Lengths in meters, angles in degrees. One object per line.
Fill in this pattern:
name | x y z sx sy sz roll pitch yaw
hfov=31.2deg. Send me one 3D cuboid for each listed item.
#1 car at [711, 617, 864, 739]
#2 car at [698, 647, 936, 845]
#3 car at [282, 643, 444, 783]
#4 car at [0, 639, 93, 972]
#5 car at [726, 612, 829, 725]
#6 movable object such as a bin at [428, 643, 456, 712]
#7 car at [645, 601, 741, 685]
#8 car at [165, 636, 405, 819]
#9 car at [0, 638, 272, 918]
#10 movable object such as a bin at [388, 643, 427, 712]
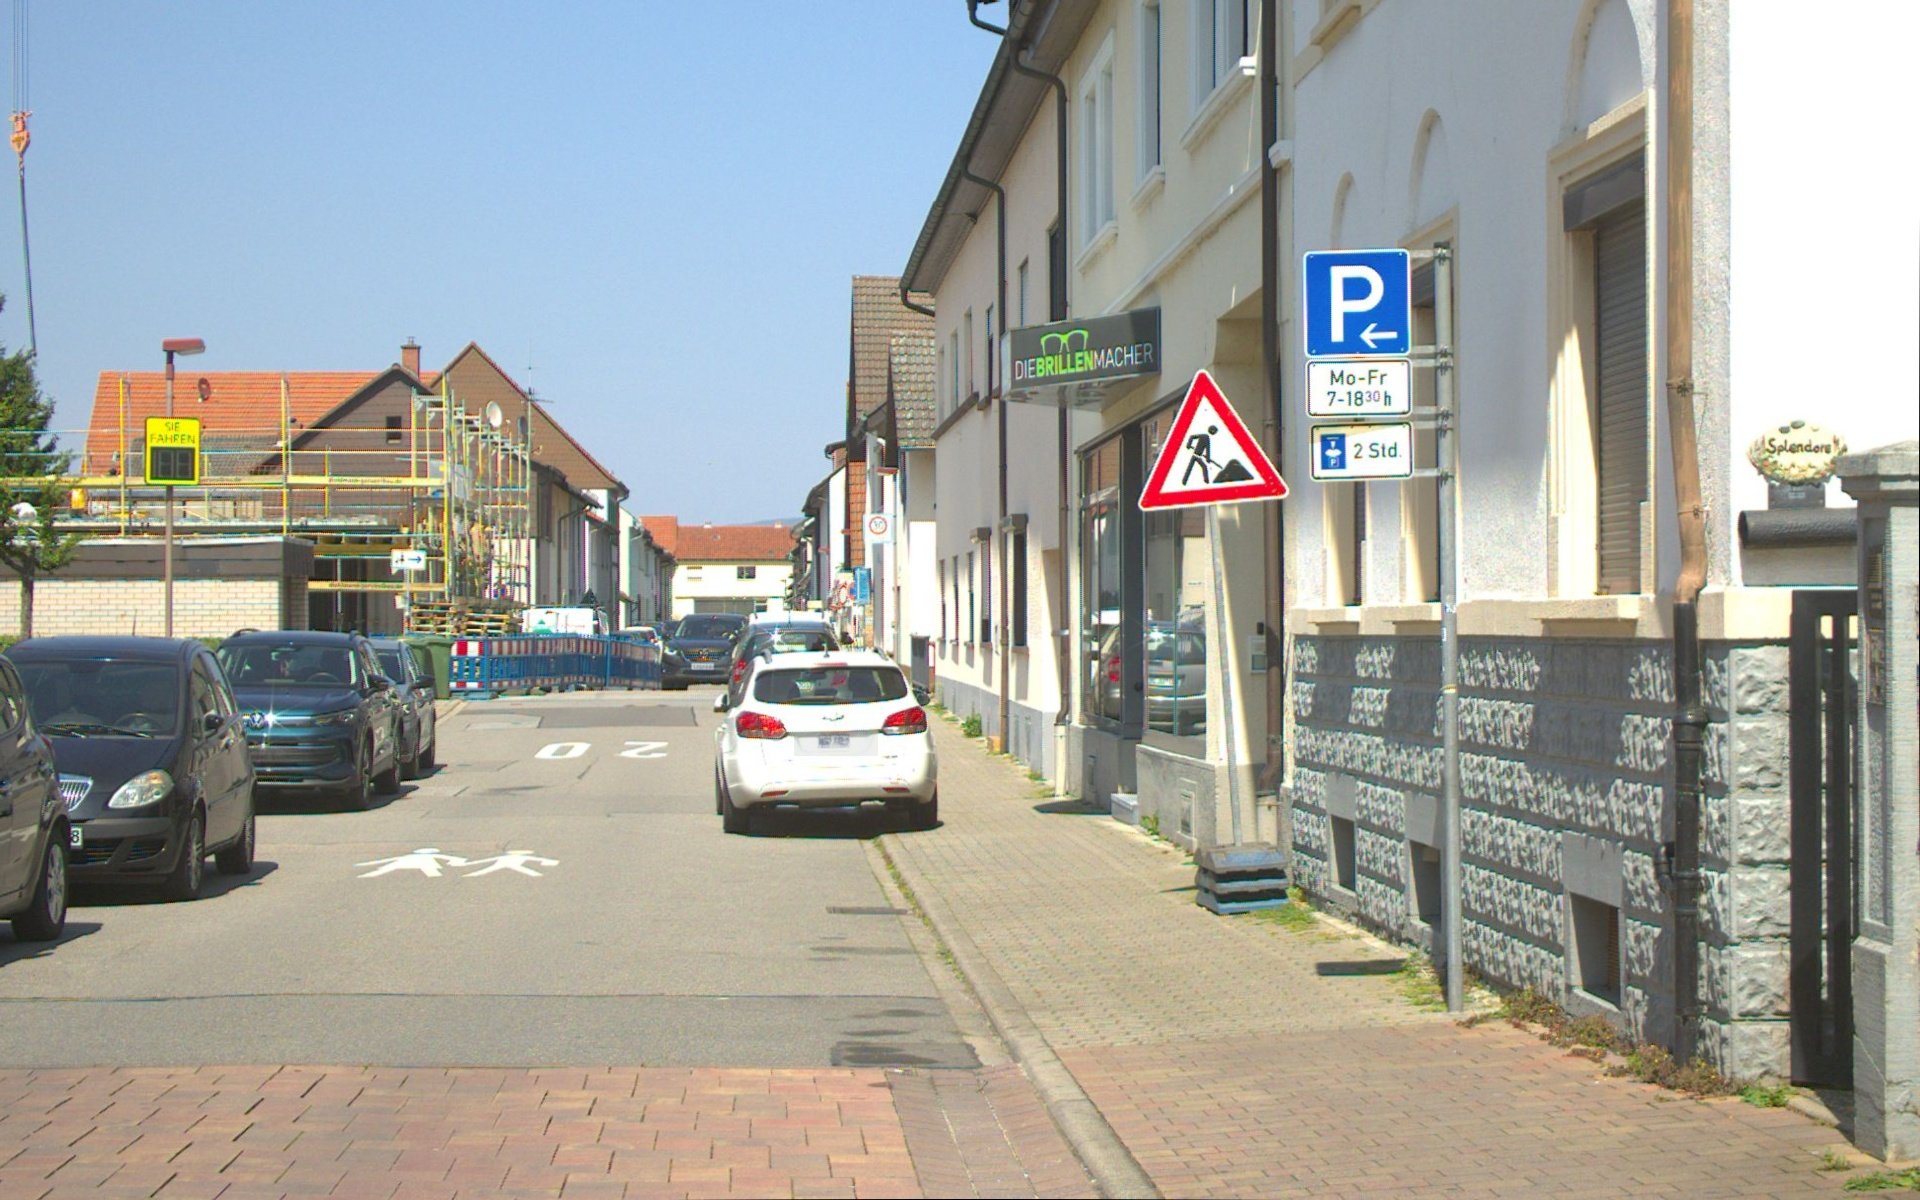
car | -2.522 1.089 49.463 1.884 1.551 3.895 -4 0 -6
car | -1.208 1.193 29.596 1.886 1.537 4.243 0 0 -2
car | -6.636 1.227 38.501 1.436 1.469 3.787 -1 -1 -5
car | -5.551 1.004 16.643 1.815 1.599 4.024 0 0 -2
car | -2.918 1.060 54.631 1.564 1.607 3.543 0 2 -4
movable object such as a bin | -8.763 1.312 58.150 0.431 1.152 0.364 0 0 -13
car | -5.421 0.857 69.913 1.881 1.663 4.154 0 0 -4
car | -6.415 1.170 33.077 1.826 1.625 4.217 0 0 -5
car | -5.541 1.082 22.324 1.637 1.623 3.768 0 0 -4
movable object such as a bin | -9.261 1.294 57.629 0.621 1.152 0.677 0 0 -10
